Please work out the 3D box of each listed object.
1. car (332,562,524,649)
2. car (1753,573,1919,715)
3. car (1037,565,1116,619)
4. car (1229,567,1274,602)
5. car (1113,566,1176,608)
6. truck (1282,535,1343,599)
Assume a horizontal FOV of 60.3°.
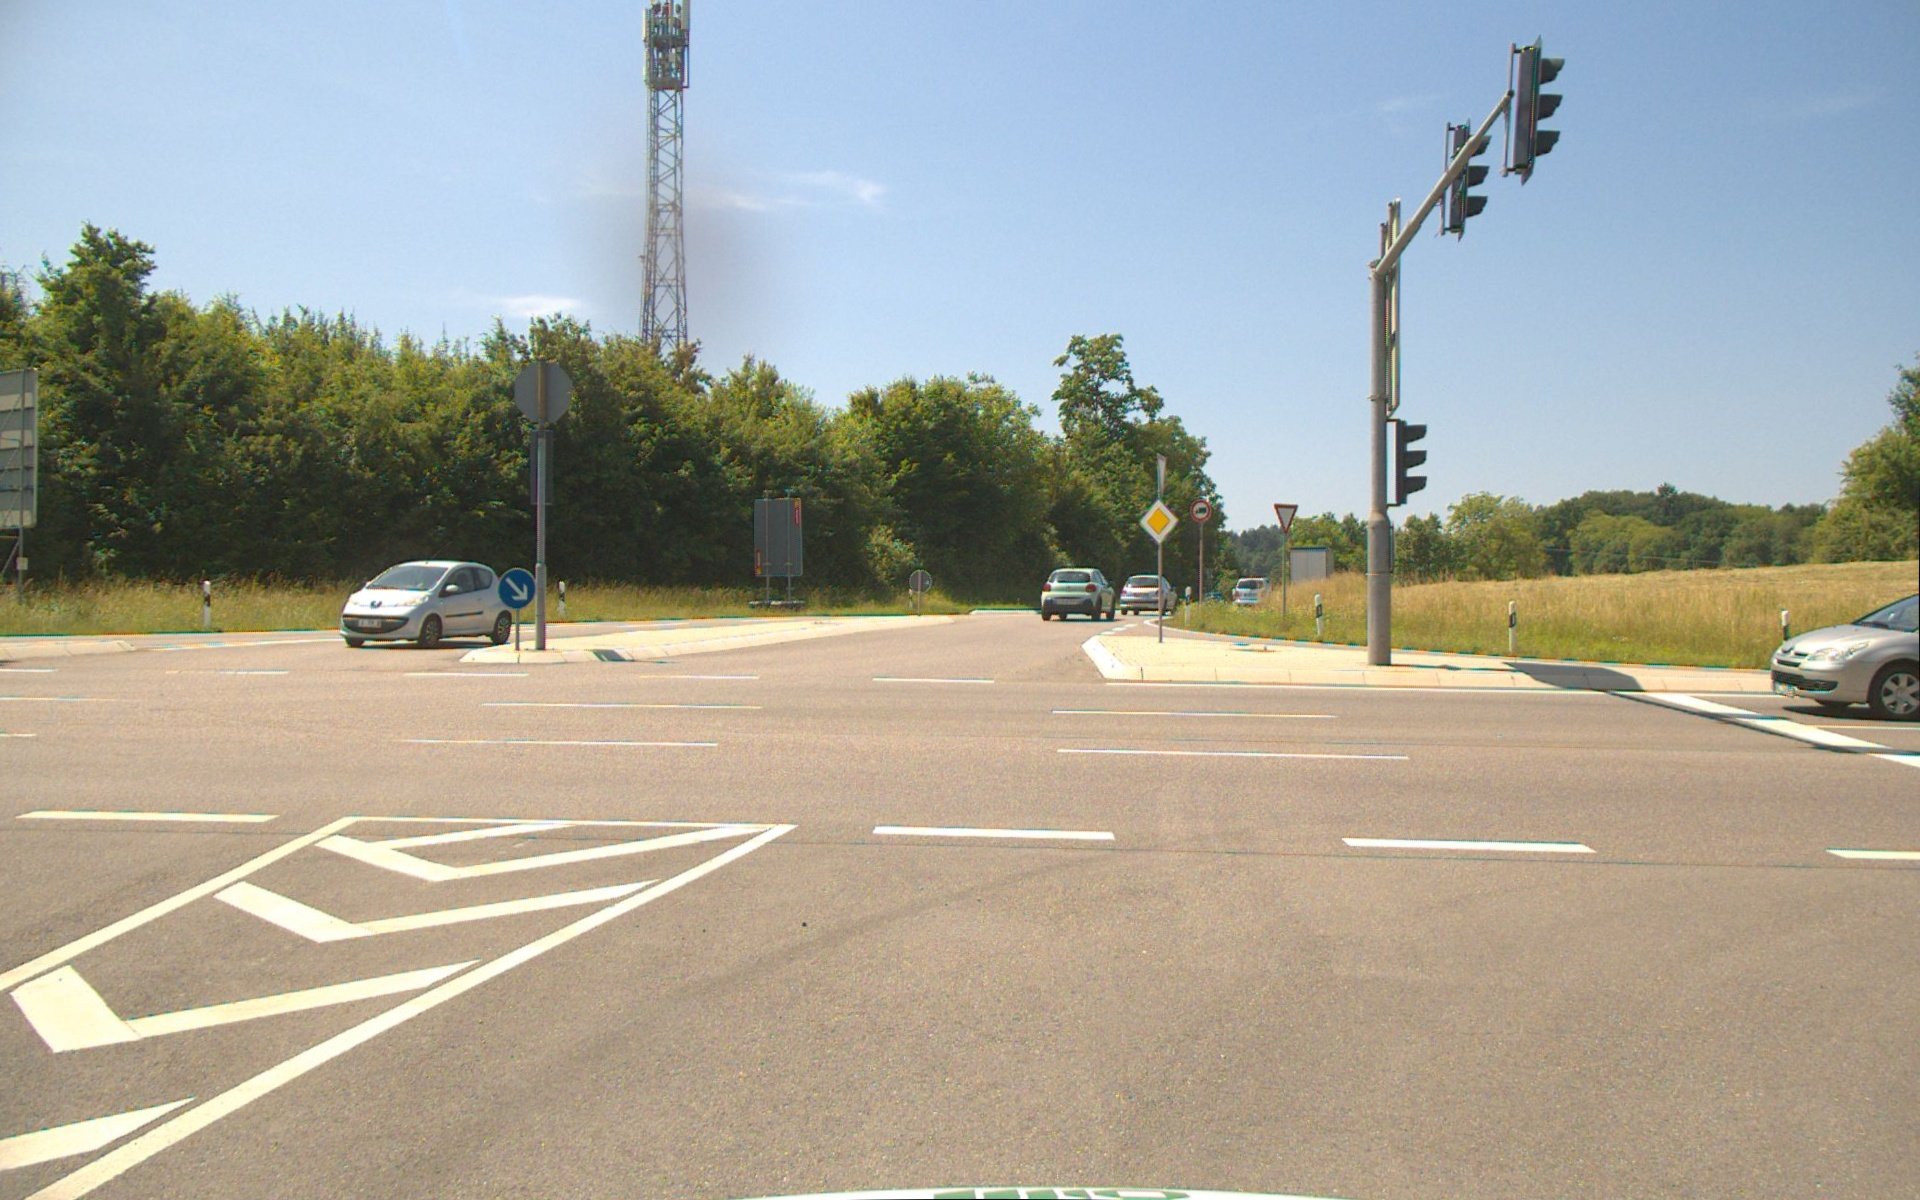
[{"bbox_3d":[-9.247,0.048,29.010,1.532,1.394,3.534,1,2,15],"label":"car"},{"bbox_3d":[11.518,0.494,18.870,4.069,1.495,1.731,1,2,4],"label":"car"},{"bbox_3d":[3.454,-0.276,48.429,1.692,1.428,3.991,2,2,13],"label":"car"},{"bbox_3d":[14.729,-0.798,83.413,1.774,1.653,4.063,0,2,17],"label":"car"},{"bbox_3d":[6.752,-0.497,60.184,1.774,1.437,3.787,1,2,14],"label":"car"},{"bbox_3d":[25.131,-2.273,117.285,3.059,4.245,16.698,1,1,16],"label":"truck"}]
